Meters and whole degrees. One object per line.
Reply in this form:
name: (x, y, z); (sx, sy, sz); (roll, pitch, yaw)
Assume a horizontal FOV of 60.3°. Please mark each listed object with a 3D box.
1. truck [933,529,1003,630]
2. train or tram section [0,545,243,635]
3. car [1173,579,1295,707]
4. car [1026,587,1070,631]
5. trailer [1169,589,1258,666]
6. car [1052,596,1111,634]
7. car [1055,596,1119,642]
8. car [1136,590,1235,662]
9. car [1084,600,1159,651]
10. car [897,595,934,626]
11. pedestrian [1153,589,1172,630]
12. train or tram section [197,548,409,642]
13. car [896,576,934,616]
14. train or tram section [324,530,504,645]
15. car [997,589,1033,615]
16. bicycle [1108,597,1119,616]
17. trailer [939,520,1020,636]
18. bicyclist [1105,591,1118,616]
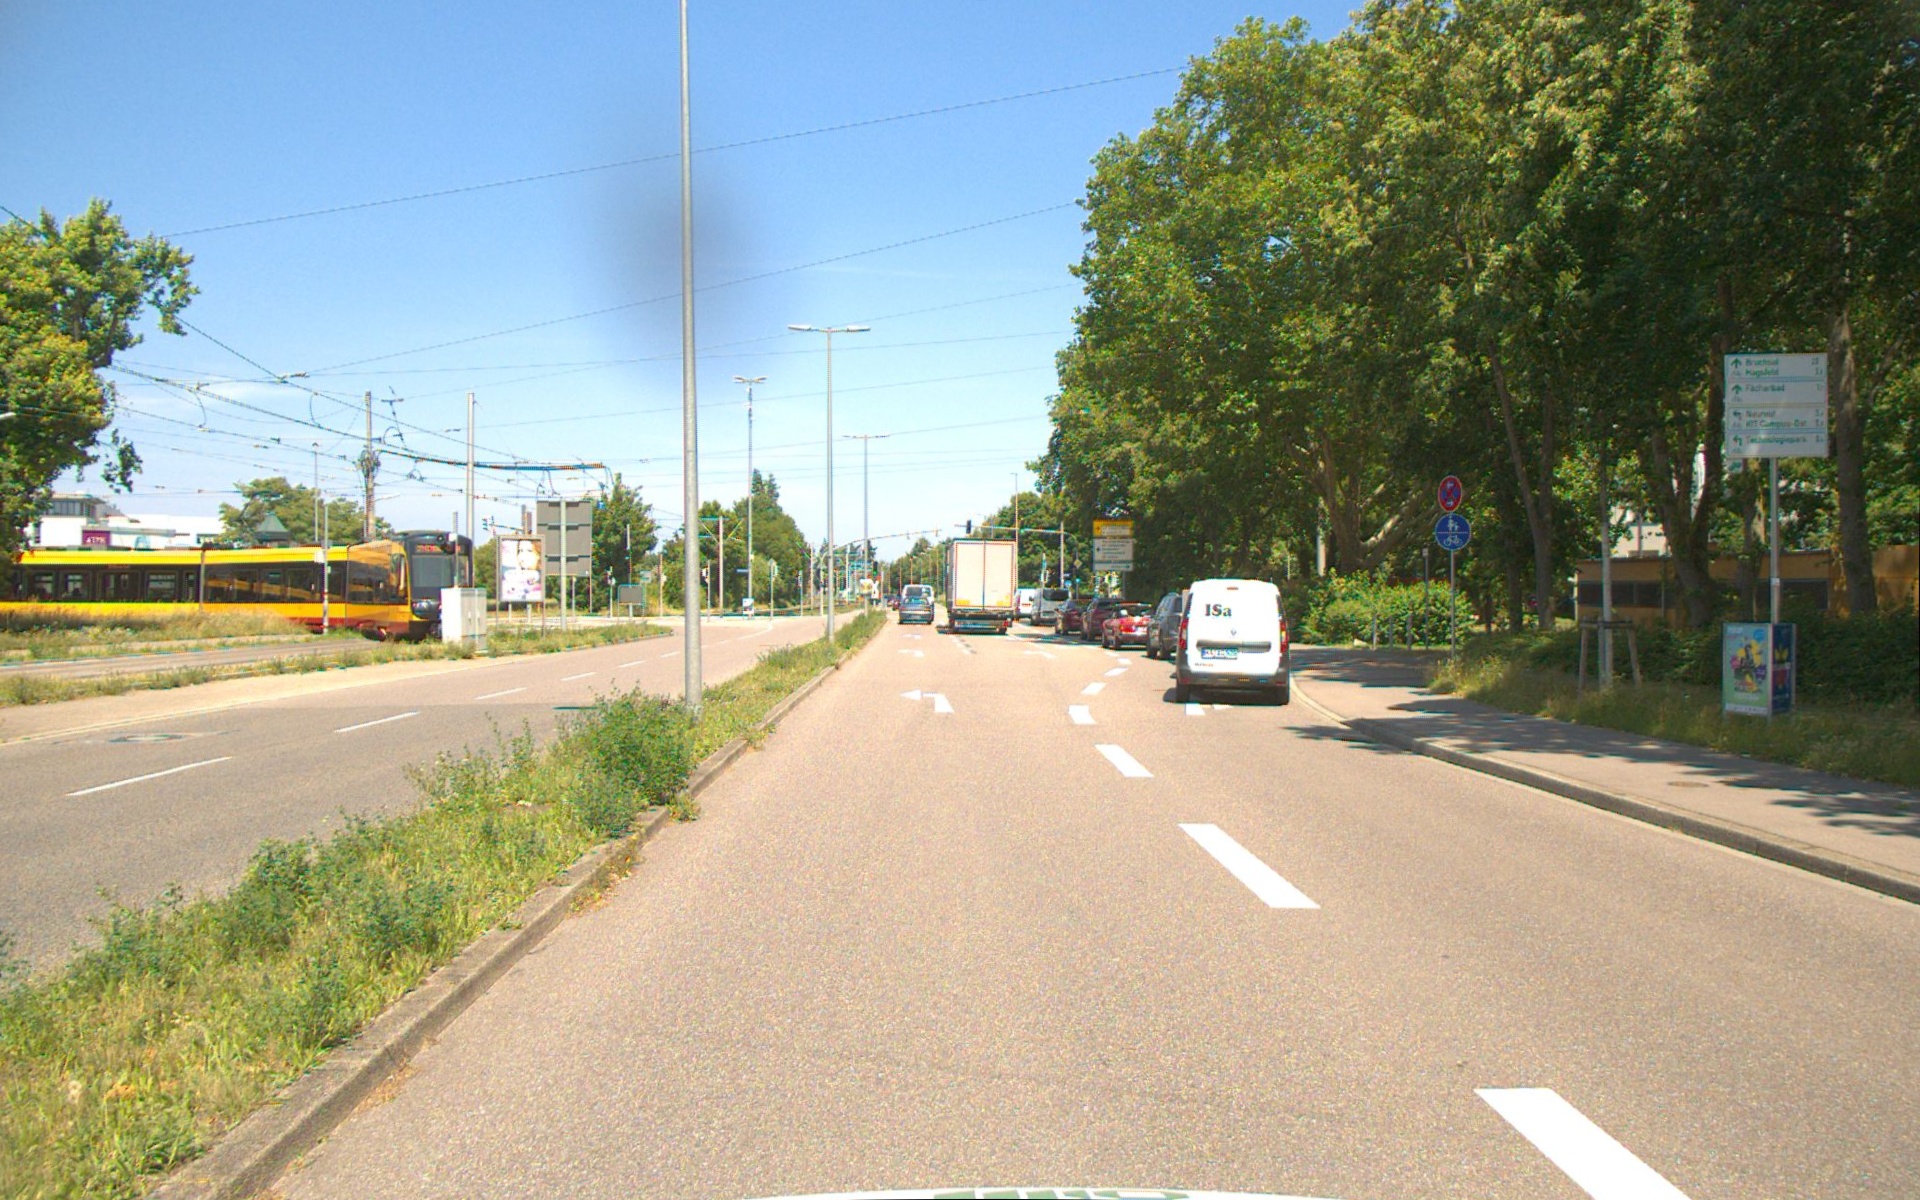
truck: (0.307, -0.993, 78.049); (2.770, 4.420, 8.280); (2, 1, -3)
train or tram section: (-37.029, -0.474, 70.435); (12.438, 3.526, 3.049); (1, 0, 13)
car: (4.209, 0.605, 25.767); (1.673, 1.778, 4.431); (1, 0, 8)
car: (4.580, 0.445, 86.312); (1.853, 2.158, 3.885); (1, 0, -3)
trailer: (5.831, 0.604, 38.292); (1.439, 1.698, 2.854); (1, 0, -3)
car: (5.093, 0.603, 69.858); (1.954, 1.529, 4.499); (0, 1, -3)
car: (4.586, 0.657, 60.226); (1.821, 1.576, 3.885); (1, 0, -3)
car: (5.655, 0.608, 41.940); (1.665, 1.683, 4.396); (1, 0, -3)
car: (4.861, 0.752, 50.201); (1.622, 1.421, 4.265); (1, 0, -3)
car: (-2.285, 0.560, 84.675); (1.854, 1.396, 4.427); (0, -3, -2)
pedestrian: (9.144, 0.413, 74.712); (0.738, 1.847, 0.693); (-1, 0, -3)
train or tram section: (-26.453, -0.272, 66.291); (10.021, 3.526, 3.034); (2, 0, 36)
car: (-2.546, -0.258, 92.685); (1.954, 2.148, 4.744); (0, 1, -4)
train or tram section: (-19.113, -0.463, 57.101); (3.006, 3.526, 13.151); (1, 0, -31)
car: (3.292, 0.095, 100.011); (1.953, 1.462, 4.250); (0, 1, -1)
bicycle: (11.028, 0.438, 118.873); (0.630, 1.327, 1.627); (-2, 0, 9)
trailer: (0.708, -0.878, 69.541); (2.771, 4.499, 8.744); (1, 0, -3)
bicyclist: (10.874, 0.229, 118.881); (0.785, 1.757, 0.679); (-2, -1, 9)
